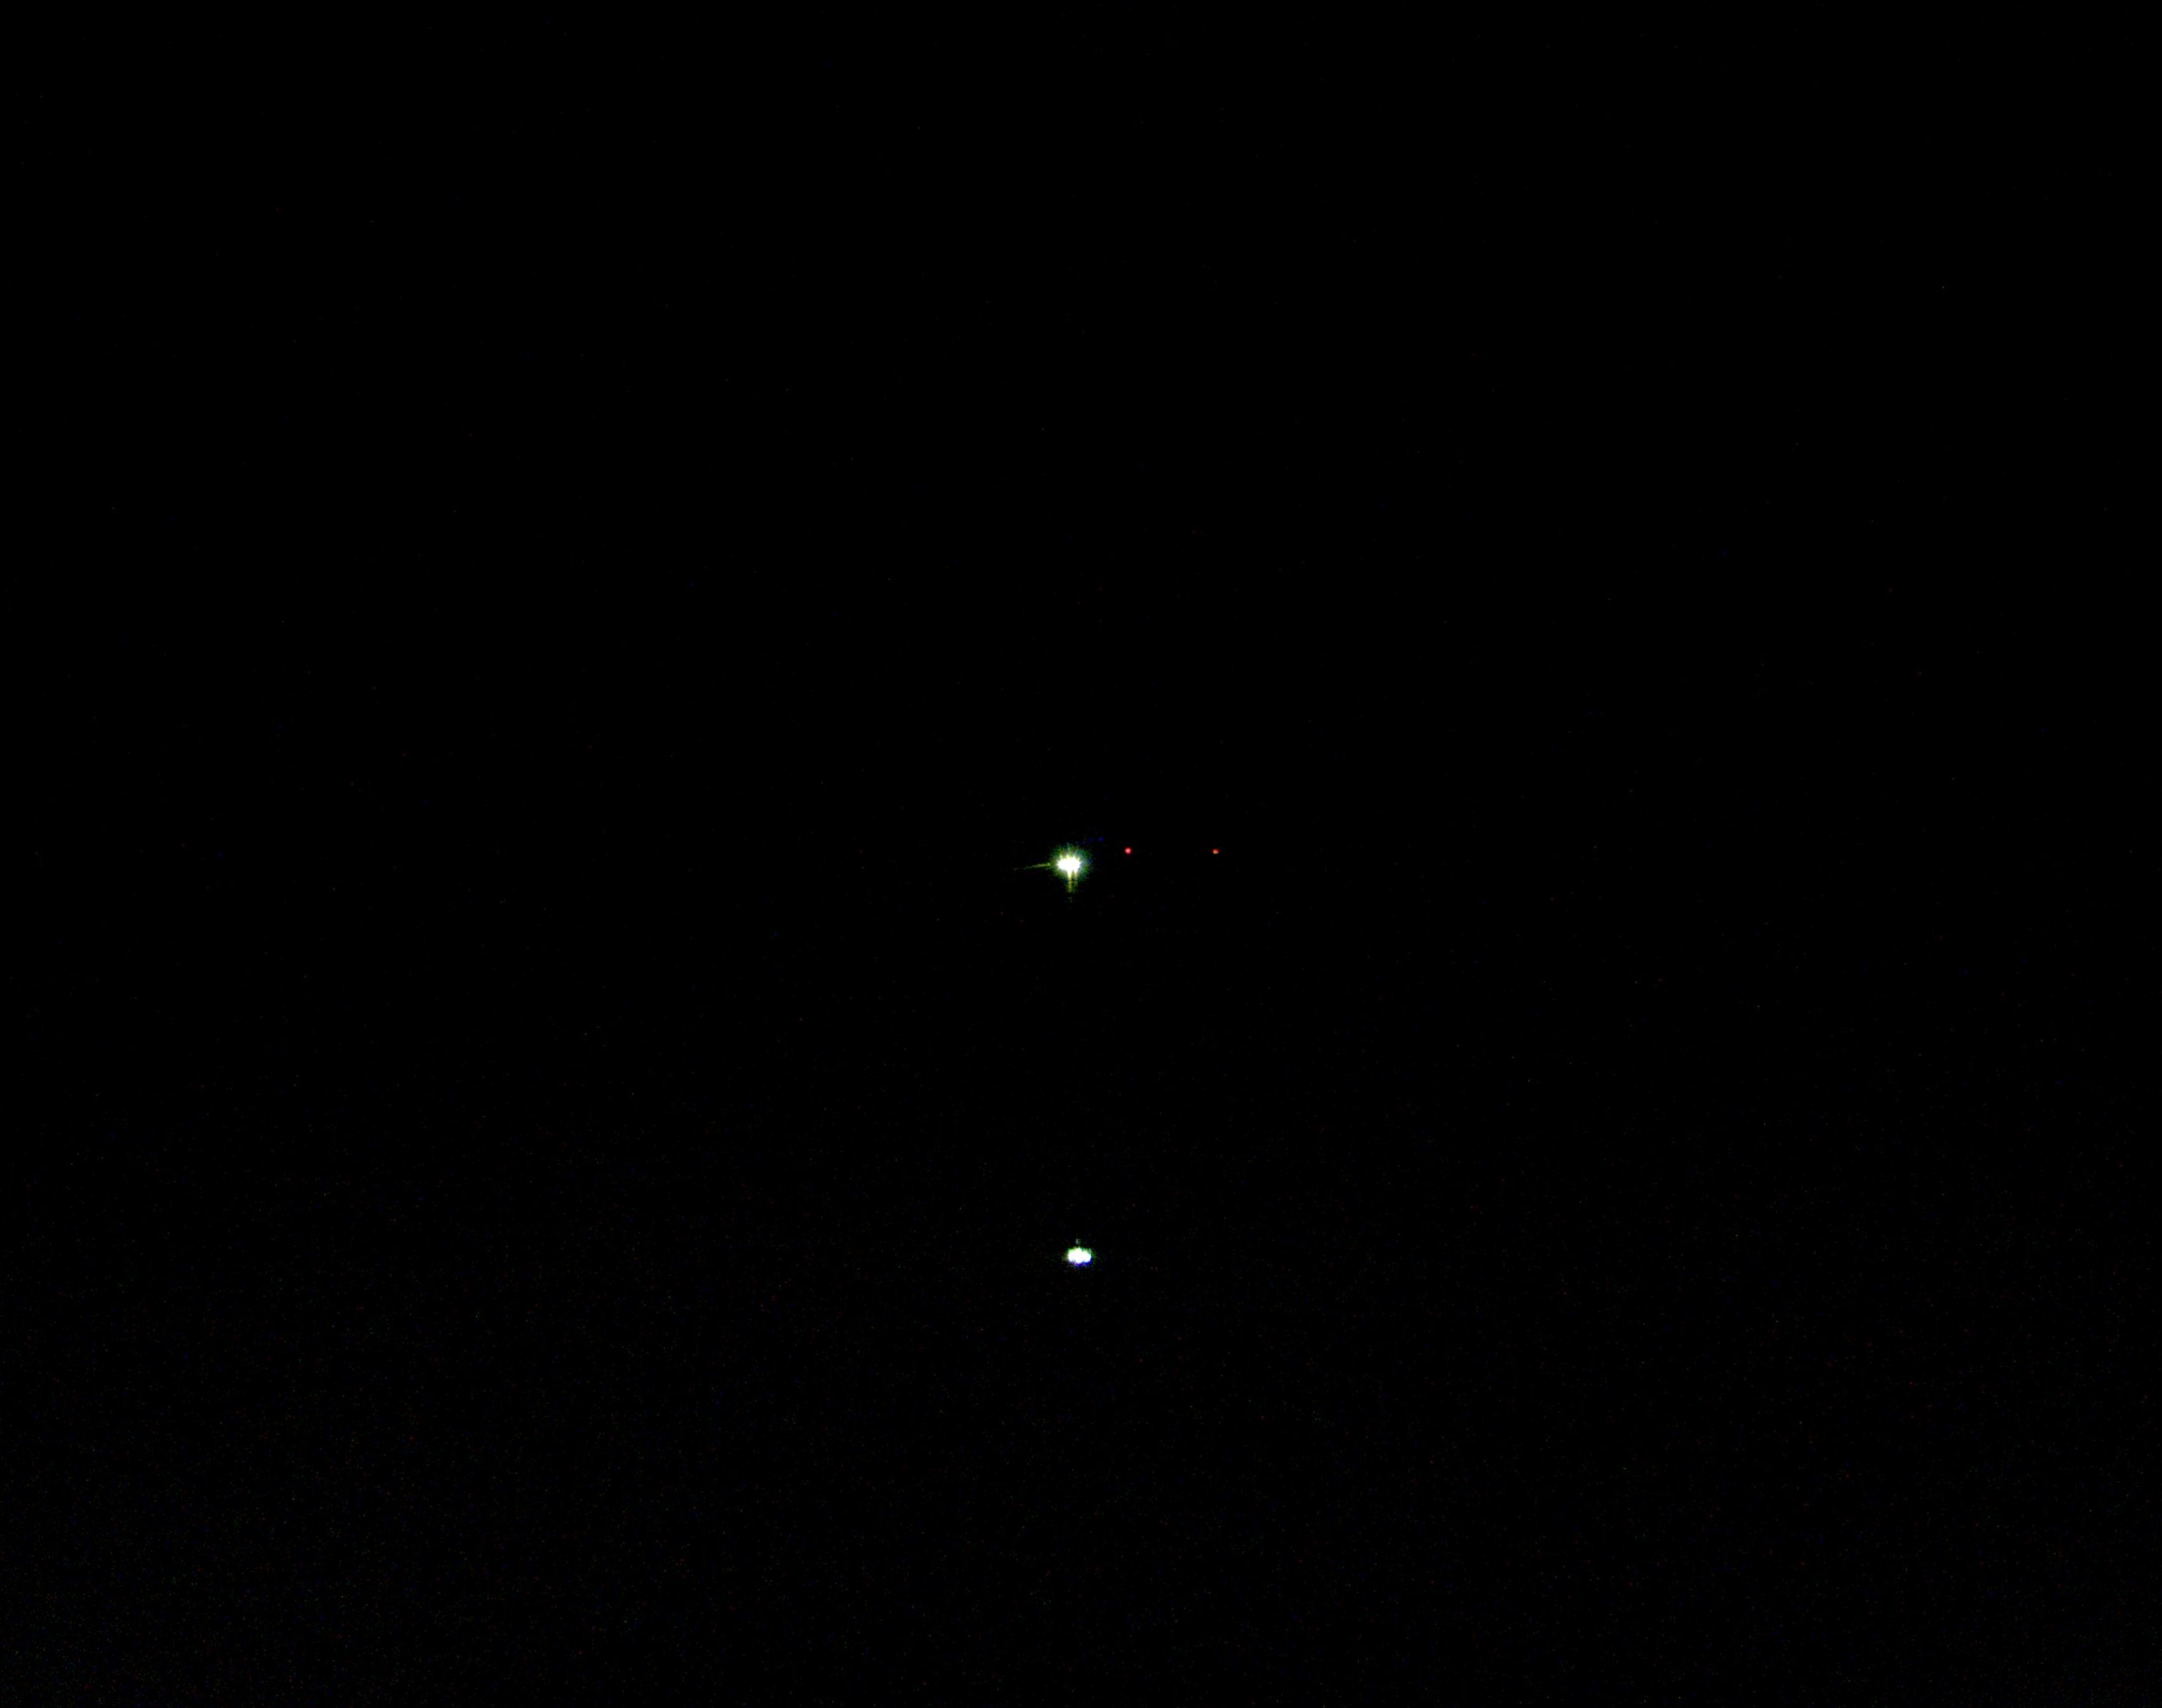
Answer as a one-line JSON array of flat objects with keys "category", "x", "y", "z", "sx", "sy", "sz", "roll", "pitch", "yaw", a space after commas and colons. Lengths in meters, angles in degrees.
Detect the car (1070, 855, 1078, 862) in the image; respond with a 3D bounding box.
[{"category": "car", "x": -1.577, "y": 0.998, "z": 182.101, "sx": 1.846, "sy": 1.474, "sz": 4.293, "roll": -3, "pitch": -1, "yaw": 0}]
